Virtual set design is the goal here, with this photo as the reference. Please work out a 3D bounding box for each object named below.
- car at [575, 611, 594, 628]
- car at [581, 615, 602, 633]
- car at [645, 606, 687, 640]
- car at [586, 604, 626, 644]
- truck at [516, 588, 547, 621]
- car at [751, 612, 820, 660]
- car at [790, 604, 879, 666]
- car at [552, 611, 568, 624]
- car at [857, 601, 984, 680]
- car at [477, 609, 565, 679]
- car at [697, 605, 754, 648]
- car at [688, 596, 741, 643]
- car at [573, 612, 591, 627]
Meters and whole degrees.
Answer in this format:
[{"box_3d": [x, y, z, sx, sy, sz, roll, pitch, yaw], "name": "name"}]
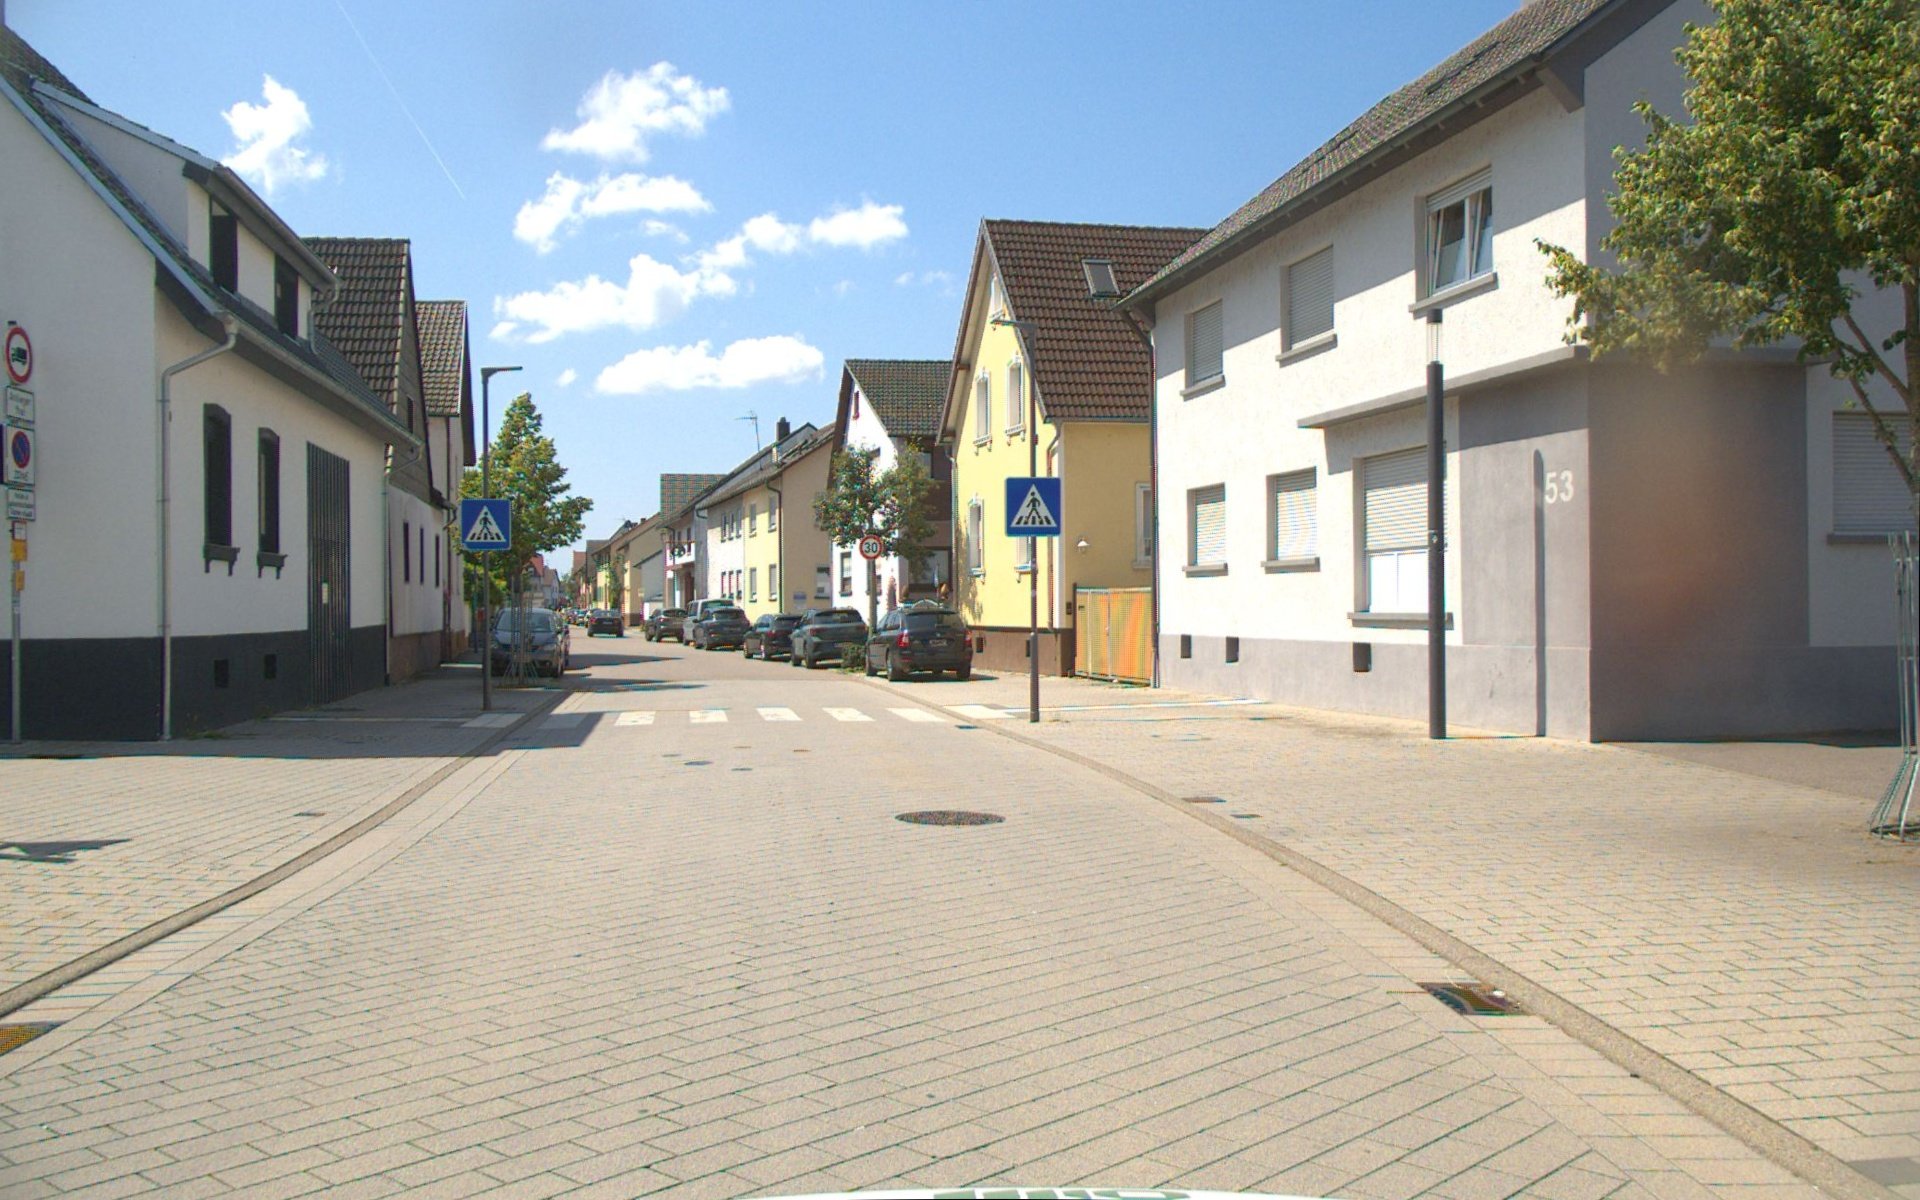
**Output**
[{"box_3d": [-35.490, 1.838, 156.260, 1.659, 1.478, 3.779, -1, 0, -14], "name": "car"}, {"box_3d": [-31.911, 2.059, 143.132, 1.659, 1.478, 3.779, -1, 0, -14], "name": "car"}, {"box_3d": [-14.120, 1.081, 79.353, 1.724, 1.519, 3.985, -1, 0, -14], "name": "car"}, {"box_3d": [-19.430, 1.305, 90.649, 1.960, 2.094, 4.357, -1, 0, -14], "name": "car"}, {"box_3d": [-52.809, 0.563, 203.712, 3.507, 4.023, 8.541, -1, 0, -16], "name": "truck"}, {"box_3d": [-5.532, 1.117, 52.005, 1.682, 1.411, 3.692, -1, 0, -14], "name": "car"}, {"box_3d": [-3.446, 0.912, 44.765, 1.815, 1.590, 3.680, -1, 0, -14], "name": "car"}, {"box_3d": [-45.552, 2.011, 188.279, 1.660, 1.478, 3.776, -1, 0, -16], "name": "car"}, {"box_3d": [-0.918, 0.848, 35.493, 1.798, 1.497, 4.260, -3, 0, -14], "name": "car"}, {"box_3d": [-10.314, 1.009, 39.097, 1.716, 1.557, 3.989, 1, 0, -11], "name": "car"}, {"box_3d": [-9.302, 1.015, 65.325, 1.845, 1.619, 3.985, -1, 0, -14], "name": "car"}, {"box_3d": [-10.526, 0.812, 70.851, 1.874, 1.904, 3.985, -1, 0, -14], "name": "car"}, {"box_3d": [-37.866, 1.921, 165.533, 1.659, 1.478, 3.778, -1, 0, -14], "name": "car"}]
